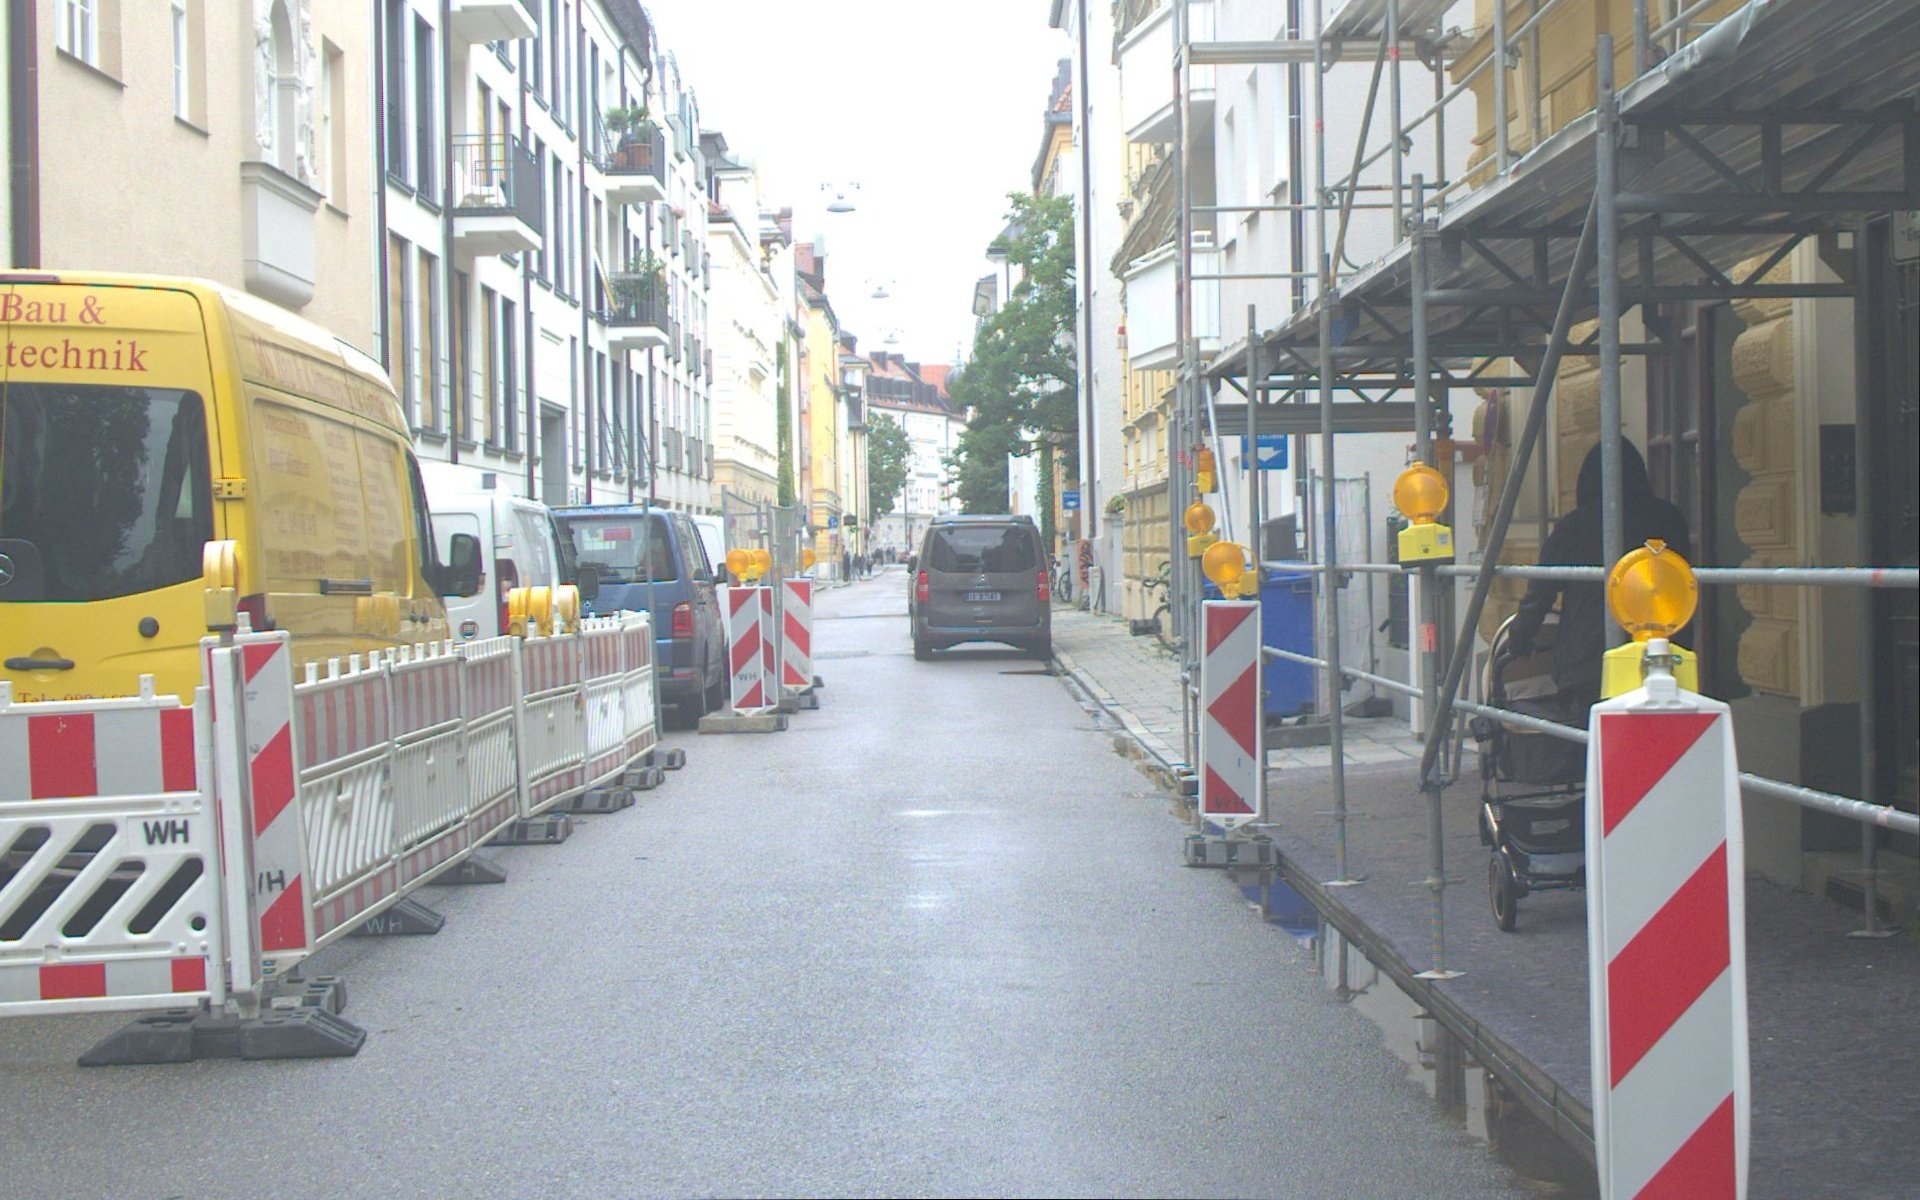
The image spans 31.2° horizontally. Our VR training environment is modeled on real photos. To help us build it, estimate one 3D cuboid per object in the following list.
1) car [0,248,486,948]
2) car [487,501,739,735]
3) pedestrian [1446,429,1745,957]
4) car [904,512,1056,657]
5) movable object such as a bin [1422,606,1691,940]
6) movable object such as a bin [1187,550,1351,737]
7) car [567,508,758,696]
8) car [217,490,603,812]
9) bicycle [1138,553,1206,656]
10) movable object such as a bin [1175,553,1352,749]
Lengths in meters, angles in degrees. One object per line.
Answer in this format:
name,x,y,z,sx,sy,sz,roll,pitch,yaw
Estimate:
car,-3.660,-0.044,16.120,1.993,2.570,6.737,-2,1,-1
car,-3.098,0.118,31.700,1.727,1.891,5.509,-3,1,-1
pedestrian,2.241,0.310,12.228,0.729,1.746,0.988,-5,1,-1
car,0.227,-0.251,48.131,1.993,1.925,4.660,0,1,-1
movable object such as a bin,2.241,0.631,13.019,0.729,1.137,0.988,-5,1,-1
movable object such as a bin,2.439,0.330,27.005,1.126,1.341,1.171,-5,1,8
car,-3.205,-0.008,37.703,1.904,1.891,5.090,-1,1,-4
car,-3.624,0.284,23.497,1.917,1.891,4.791,-3,1,-2
bicycle,2.539,0.040,41.279,0.638,1.149,1.915,-4,2,0
movable object such as a bin,2.289,0.368,25.767,1.087,1.341,1.317,-4,1,12
